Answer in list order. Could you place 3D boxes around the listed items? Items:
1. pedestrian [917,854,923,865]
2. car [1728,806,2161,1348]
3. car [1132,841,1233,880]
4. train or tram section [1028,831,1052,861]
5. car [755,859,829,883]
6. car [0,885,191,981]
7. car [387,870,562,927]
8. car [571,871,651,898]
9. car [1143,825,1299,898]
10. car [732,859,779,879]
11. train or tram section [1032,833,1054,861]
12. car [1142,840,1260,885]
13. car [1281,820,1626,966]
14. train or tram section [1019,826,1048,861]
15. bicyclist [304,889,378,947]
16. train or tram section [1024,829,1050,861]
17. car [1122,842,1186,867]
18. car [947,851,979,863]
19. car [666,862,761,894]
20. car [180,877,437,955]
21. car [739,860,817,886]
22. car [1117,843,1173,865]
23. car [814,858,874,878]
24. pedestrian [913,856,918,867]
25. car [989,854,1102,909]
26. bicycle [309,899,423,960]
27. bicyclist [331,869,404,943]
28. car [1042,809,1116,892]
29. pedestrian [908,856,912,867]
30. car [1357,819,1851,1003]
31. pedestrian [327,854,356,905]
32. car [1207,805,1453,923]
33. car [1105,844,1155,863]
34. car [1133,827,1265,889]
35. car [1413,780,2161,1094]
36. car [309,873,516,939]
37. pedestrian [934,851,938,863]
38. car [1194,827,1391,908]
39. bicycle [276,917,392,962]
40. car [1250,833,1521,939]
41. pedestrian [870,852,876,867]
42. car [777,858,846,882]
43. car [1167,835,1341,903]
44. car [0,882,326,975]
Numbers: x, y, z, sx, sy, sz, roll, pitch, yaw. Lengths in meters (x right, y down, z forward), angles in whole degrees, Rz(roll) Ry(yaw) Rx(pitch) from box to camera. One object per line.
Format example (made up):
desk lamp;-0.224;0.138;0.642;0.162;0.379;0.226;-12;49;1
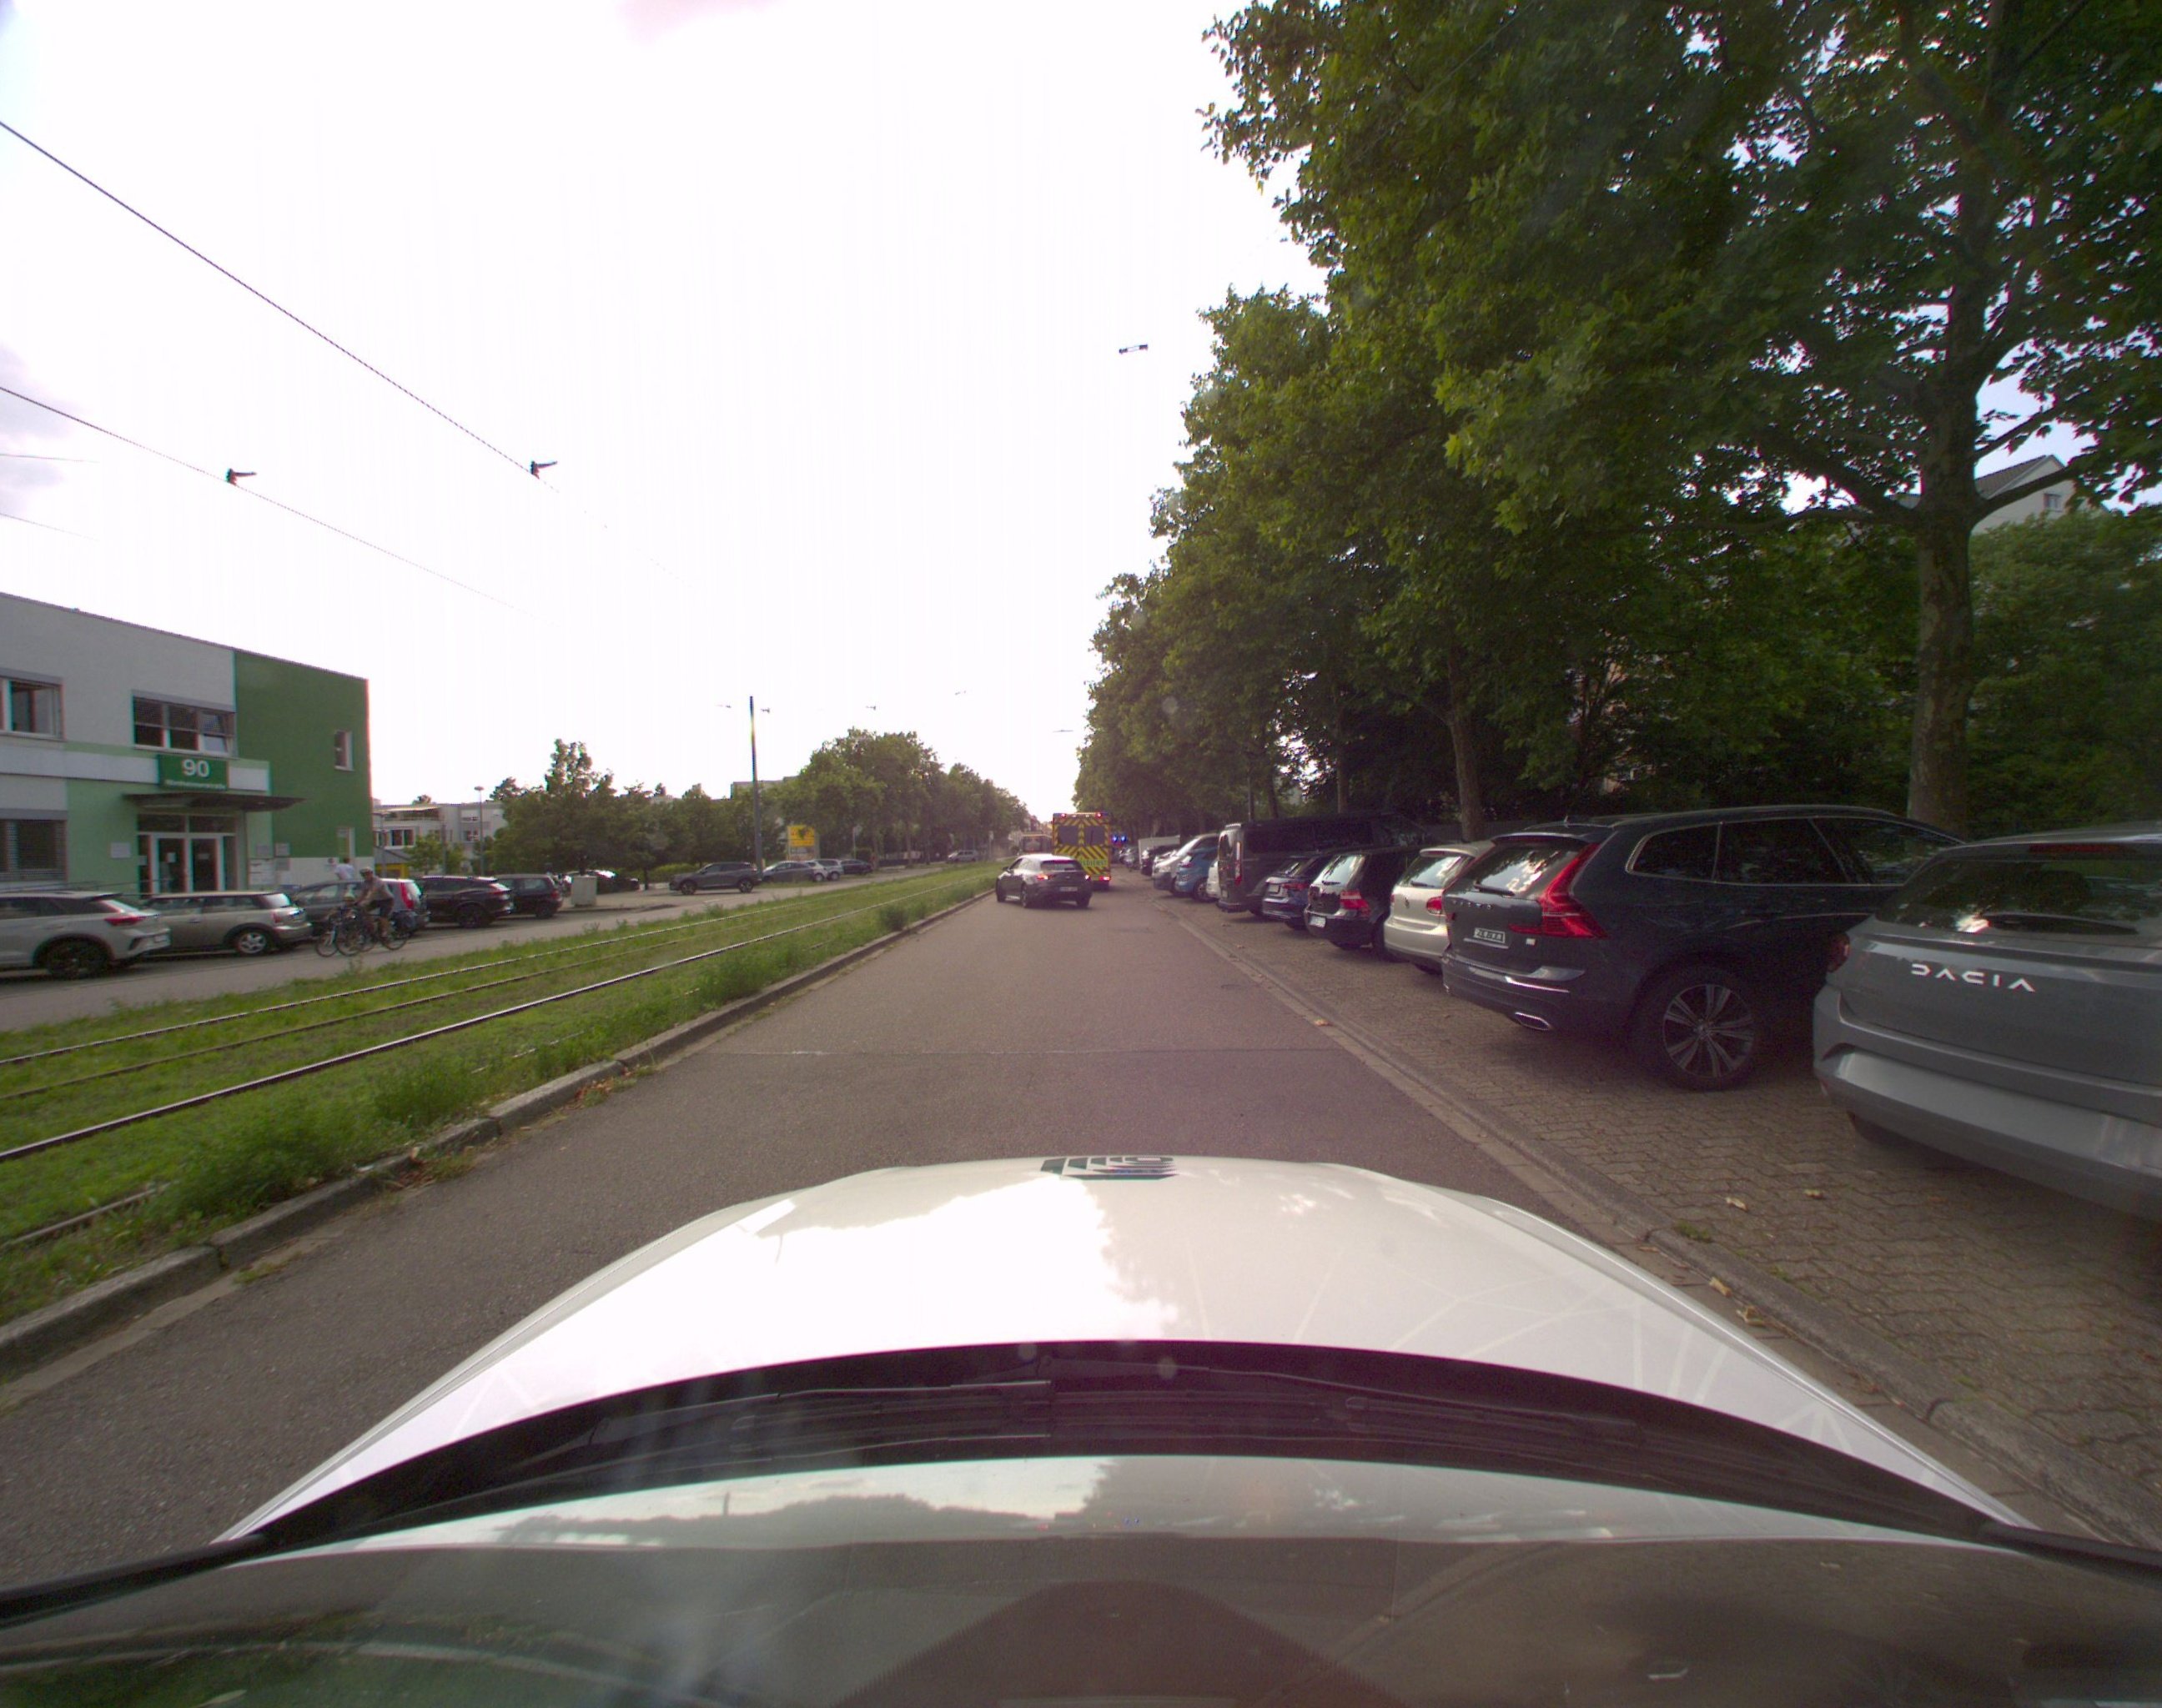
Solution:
pedestrian;-22.770;0.791;115.041;0.631;1.551;0.622;-2;0;-3
car;5.226;0.526;2.907;4.364;1.501;1.757;-3;0;1
car;4.858;0.306;39.319;4.537;1.608;1.853;-3;0;-4
train or tram section;-5.133;-0.955;104.032;2.504;3.584;7.443;-3;0;0
car;-19.095;1.112;53.940;4.253;1.482;1.863;-1;0;-36
car;-19.117;1.444;14.346;4.252;1.482;1.863;-3;1;-34
car;-19.443;1.378;26.375;4.247;1.482;1.866;-3;1;-29
car;-29.477;1.902;51.165;3.971;1.565;1.778;0;-1;2
car;4.411;0.226;26.094;4.537;2.000;1.853;-3;0;-4
car;-29.739;1.366;74.471;3.949;1.750;2.013;0;0;31
train or tram section;-5.118;-0.894;111.474;2.504;3.584;7.443;-3;0;0
car;4.977;0.351;34.162;4.537;1.608;1.853;-3;0;-4
car;4.992;0.459;11.144;3.967;1.605;1.750;-3;0;-11
train or tram section;-5.139;-1.076;89.157;2.504;3.584;7.443;-3;0;0
bicyclist;-15.637;1.342;17.223;0.636;1.113;0.930;-2;0;5
train or tram section;-5.140;-1.015;96.588;2.504;3.584;7.443;-3;0;0
car;5.419;0.027;60.880;4.537;1.608;1.853;-3;0;-4
car;-18.746;0.435;129.692;4.651;1.633;1.861;-3;0;-39
car;-18.408;1.168;40.892;4.242;1.482;1.868;-1;0;-25
car;-18.981;1.458;20.311;4.247;1.482;1.866;-3;1;-29
car;-18.948;1.155;51.027;4.253;1.482;1.863;-1;0;-36
car;5.537;-0.022;70.731;4.537;1.608;1.853;-3;0;-4
car;-18.934;1.100;65.159;4.256;1.482;1.861;-1;0;-40
pedestrian;-21.417;0.916;105.255;0.417;1.414;0.470;-2;0;25
car;-1.122;0.709;23.125;1.768;1.385;4.434;0;0;-23
bicycle;-14.956;1.545;17.108;0.642;1.079;1.807;-2;0;5
bicyclist;-14.960;1.067;17.087;0.620;1.457;0.930;-2;0;5
car;0.037;-0.146;32.694;2.631;2.966;6.302;1;0;2
pedestrian;-21.701;0.945;103.377;0.420;1.473;0.467;-2;0;-5
car;5.156;0.517;8.419;3.953;1.494;1.755;-3;0;-1
pedestrian;-27.151;0.929;29.902;0.544;1.828;0.508;-2;0;-2
car;5.097;0.195;17.131;4.532;2.123;1.855;-3;0;-1
car;4.737;-0.082;78.961;4.537;1.608;1.853;-3;0;-4
car;4.388;0.142;30.688;4.537;2.043;1.853;-3;0;-4
car;4.840;0.465;5.583;4.364;1.639;1.757;-3;0;1
car;-18.907;1.413;23.336;4.247;1.482;1.866;-3;1;-29
pedestrian;-22.662;0.462;127.591;0.465;1.828;0.422;-2;0;-2
car;5.359;0.336;21.029;4.532;1.766;1.855;-3;0;-1
bicycle;-15.637;1.773;17.120;0.642;0.717;1.808;-2;0;6
car;5.089;0.515;13.999;3.953;1.494;1.755;-3;0;-1
pedestrian;-23.549;0.672;92.080;0.465;1.676;0.603;-2;0;-2
car;-18.821;1.100;56.955;4.253;1.482;1.863;-1;0;-36
car;4.929;0.412;23.560;4.538;1.660;1.853;-3;0;-5
car;-19.223;1.478;17.313;4.247;1.482;1.866;-3;1;-29
